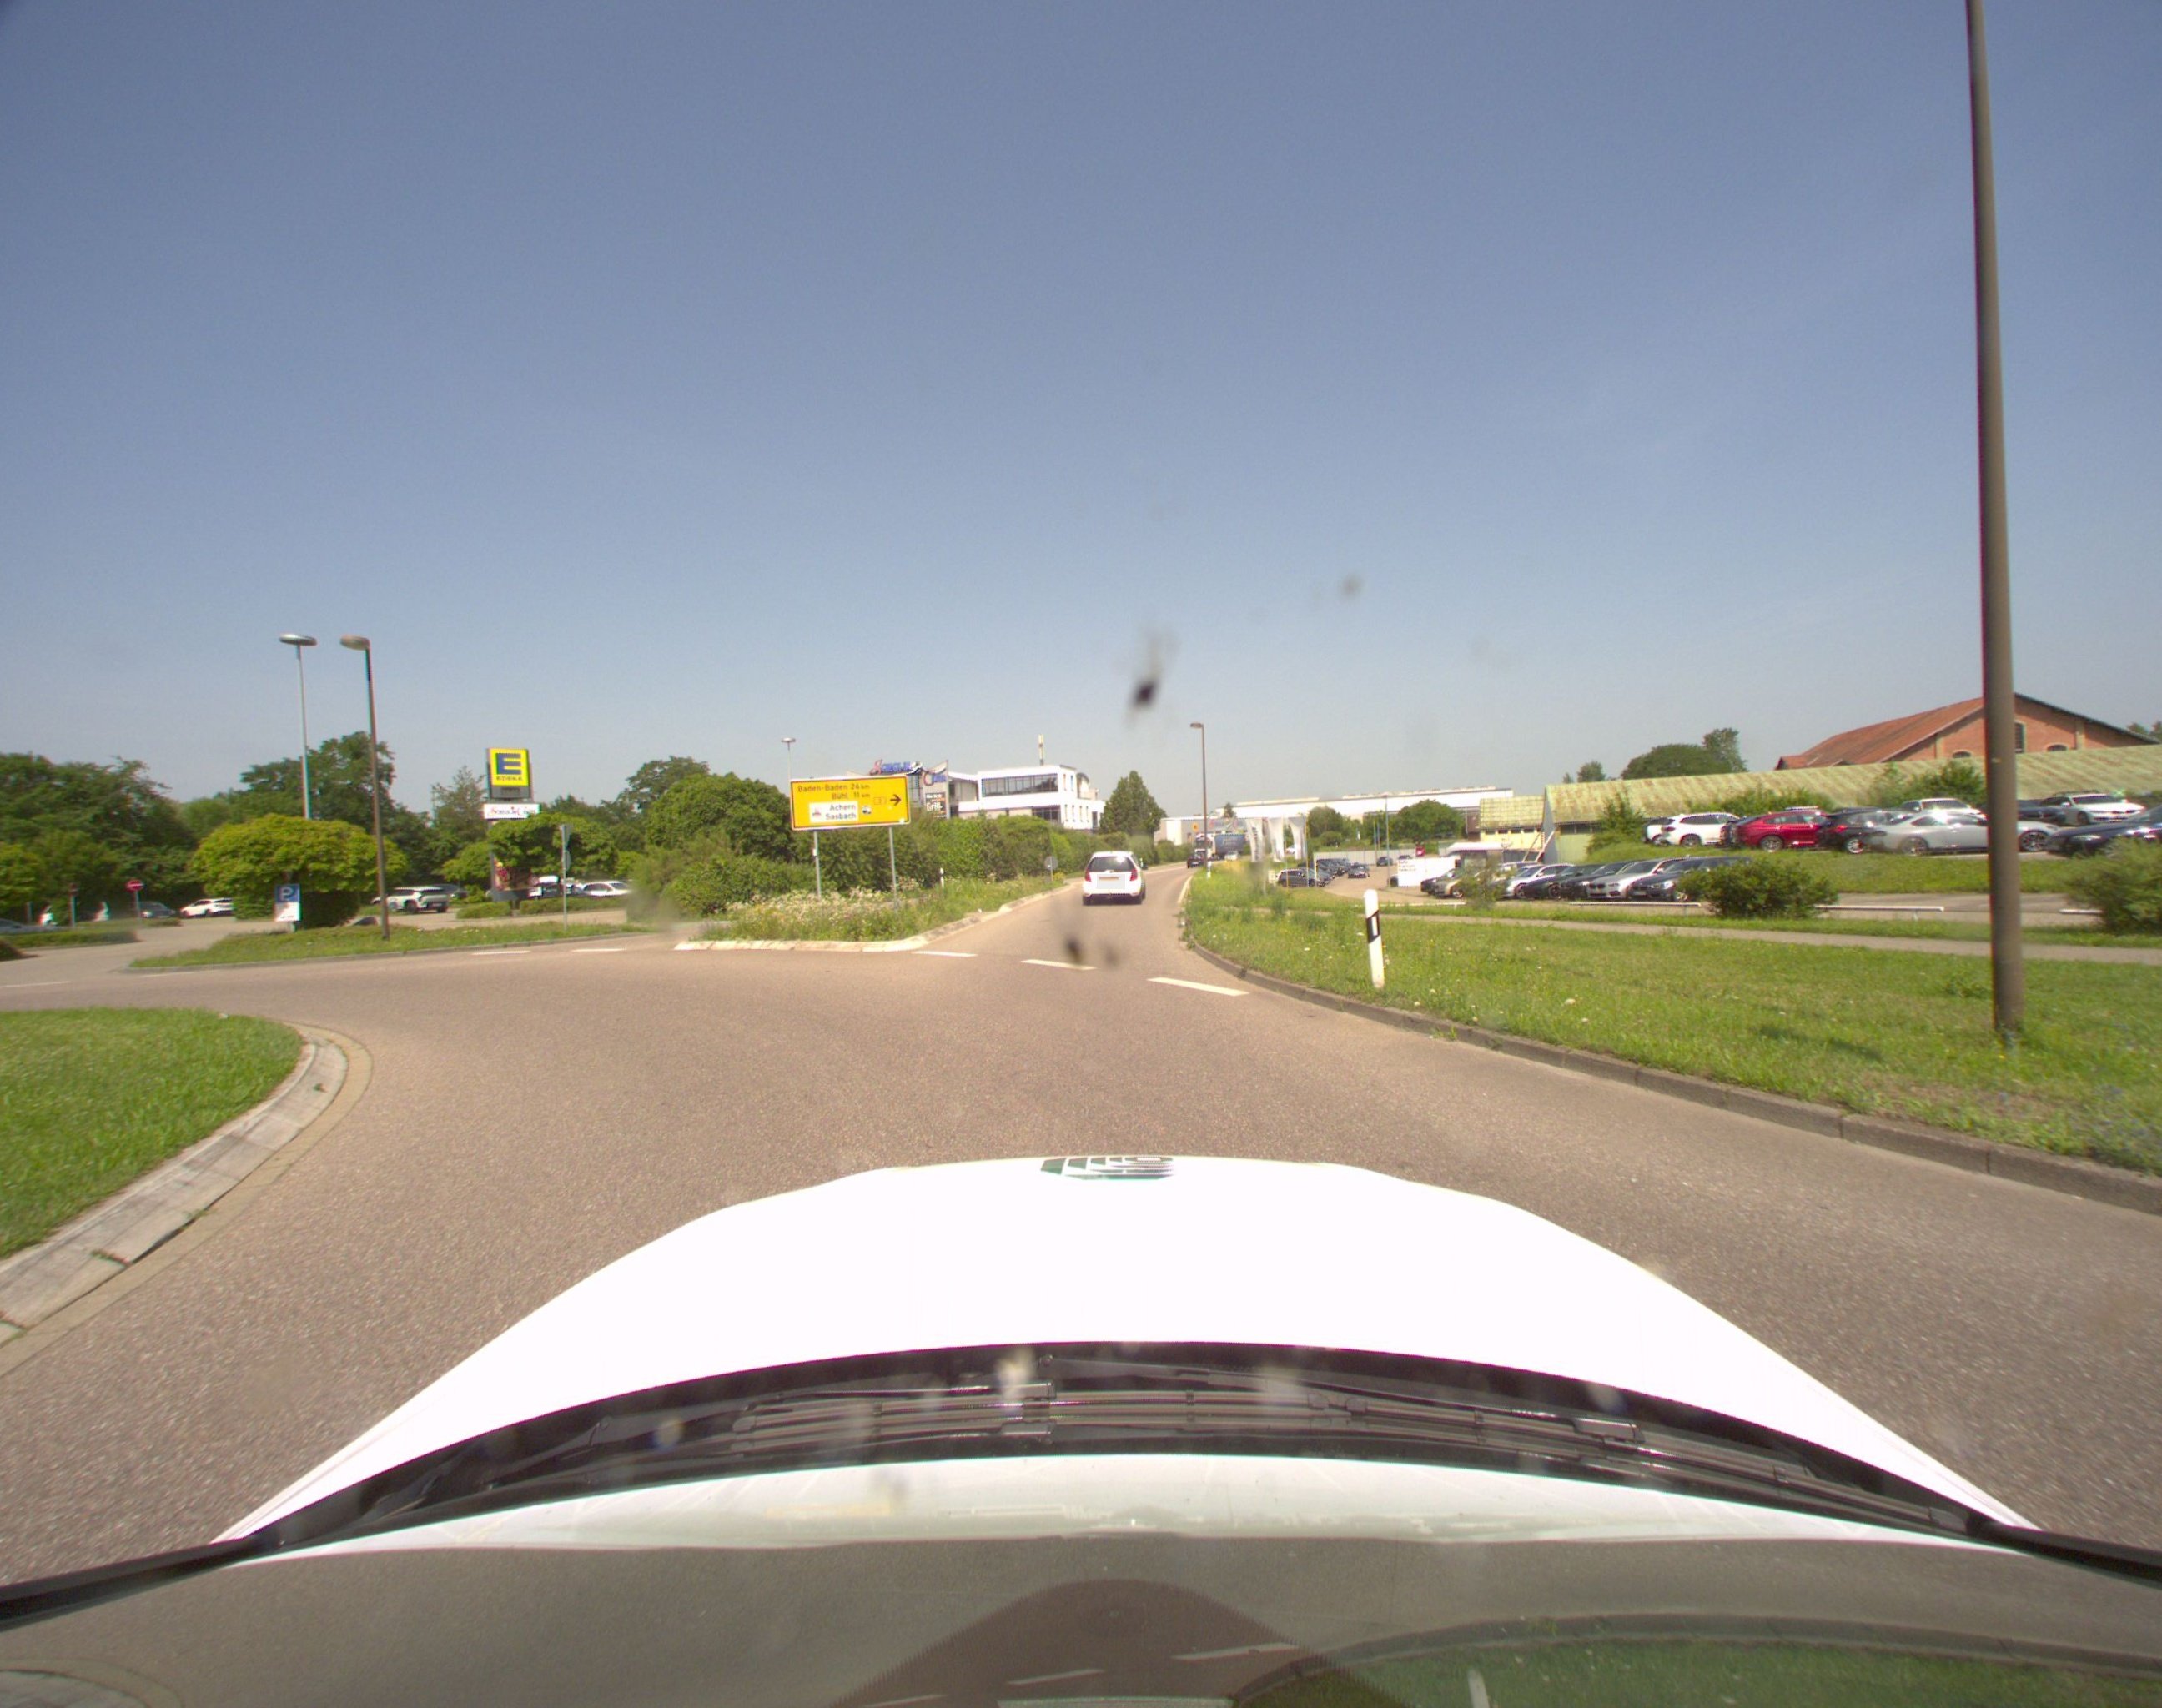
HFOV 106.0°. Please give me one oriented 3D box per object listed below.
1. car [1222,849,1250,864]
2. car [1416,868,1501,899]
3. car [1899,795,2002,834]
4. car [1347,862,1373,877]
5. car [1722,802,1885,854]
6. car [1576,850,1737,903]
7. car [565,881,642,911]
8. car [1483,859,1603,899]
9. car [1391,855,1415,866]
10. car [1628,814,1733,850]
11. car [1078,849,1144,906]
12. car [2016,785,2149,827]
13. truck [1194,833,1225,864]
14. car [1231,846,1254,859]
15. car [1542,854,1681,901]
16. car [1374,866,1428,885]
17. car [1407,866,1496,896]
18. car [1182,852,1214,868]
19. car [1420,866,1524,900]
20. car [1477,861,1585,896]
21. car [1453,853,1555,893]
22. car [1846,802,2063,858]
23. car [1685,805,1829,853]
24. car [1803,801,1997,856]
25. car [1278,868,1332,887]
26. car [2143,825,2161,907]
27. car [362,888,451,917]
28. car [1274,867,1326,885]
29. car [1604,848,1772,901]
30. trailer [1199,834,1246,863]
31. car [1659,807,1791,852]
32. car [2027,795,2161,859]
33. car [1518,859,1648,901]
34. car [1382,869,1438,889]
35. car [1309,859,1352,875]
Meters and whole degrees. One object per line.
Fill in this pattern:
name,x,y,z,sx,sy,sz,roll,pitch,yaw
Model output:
car,21.318,0.381,112.021,1.974,2.014,4.025,-2,-1,42
car,22.069,1.750,47.709,3.971,1.552,2.001,-3,-3,2
car,40.641,-1.816,38.207,1.898,1.596,4.330,-3,0,27
car,29.652,1.638,86.467,2.116,1.457,4.558,-1,0,25
car,28.637,-0.991,32.478,4.412,1.747,1.961,-3,0,25
car,21.110,0.842,29.999,4.547,1.566,1.921,-4,-3,-3
car,-27.956,2.455,47.672,3.950,1.574,2.012,-3,-1,26
car,21.221,1.162,37.528,4.409,1.465,1.921,-4,-3,-2
car,44.694,0.902,113.043,1.974,1.398,4.025,-2,0,37
car,29.481,-1.059,40.161,3.839,1.532,1.779,-3,0,25
car,1.018,0.681,25.412,1.772,1.603,3.899,-1,0,6
car,44.808,-2.094,36.582,2.167,1.596,4.330,-3,0,27
truck,19.027,-0.833,120.508,2.489,4.257,6.150,-3,-1,28
car,24.980,-0.219,125.598,1.974,2.014,4.026,-2,-1,35
car,21.051,0.963,32.453,4.238,1.482,1.921,-4,-3,-3
car,27.270,1.825,69.424,3.919,1.523,1.762,-2,-1,32
car,22.734,1.649,50.091,4.463,1.640,2.149,-2,-2,2
car,11.239,0.594,78.026,1.812,1.470,4.434,-1,0,23
car,21.640,1.633,45.199,4.742,1.508,2.003,-4,-3,6
car,22.216,1.229,40.371,4.226,1.465,1.877,-4,-3,6
car,22.052,1.035,42.600,4.226,1.748,2.003,-4,-3,6
car,28.406,-0.745,26.715,4.412,1.500,1.961,-3,0,25
car,29.031,-1.062,35.169,4.412,1.747,1.850,-3,0,25
car,28.988,-0.883,29.030,4.412,1.634,1.961,-3,0,25
car,18.898,1.959,68.891,1.700,1.523,4.120,-1,-1,-45
car,23.073,0.073,15.299,4.561,1.570,1.763,-4,-1,-9
car,-39.162,2.799,47.314,3.959,1.516,1.986,-1,0,13
car,19.413,1.952,72.326,4.119,1.523,1.762,-2,-1,41
car,20.547,0.710,27.654,4.555,1.421,1.778,-4,-3,-8
trailer,22.162,-0.889,126.525,2.645,4.241,14.654,-1,0,28
car,29.571,-1.092,37.574,4.412,1.747,1.850,-3,0,25
car,27.987,-0.757,21.166,3.957,1.526,1.962,-3,0,31
car,21.320,1.130,34.732,4.226,1.413,1.926,-5,-3,6
car,26.434,1.992,65.495,3.754,1.523,1.762,-2,-1,39
car,28.093,1.488,91.665,1.929,1.700,4.185,-4,2,-41
